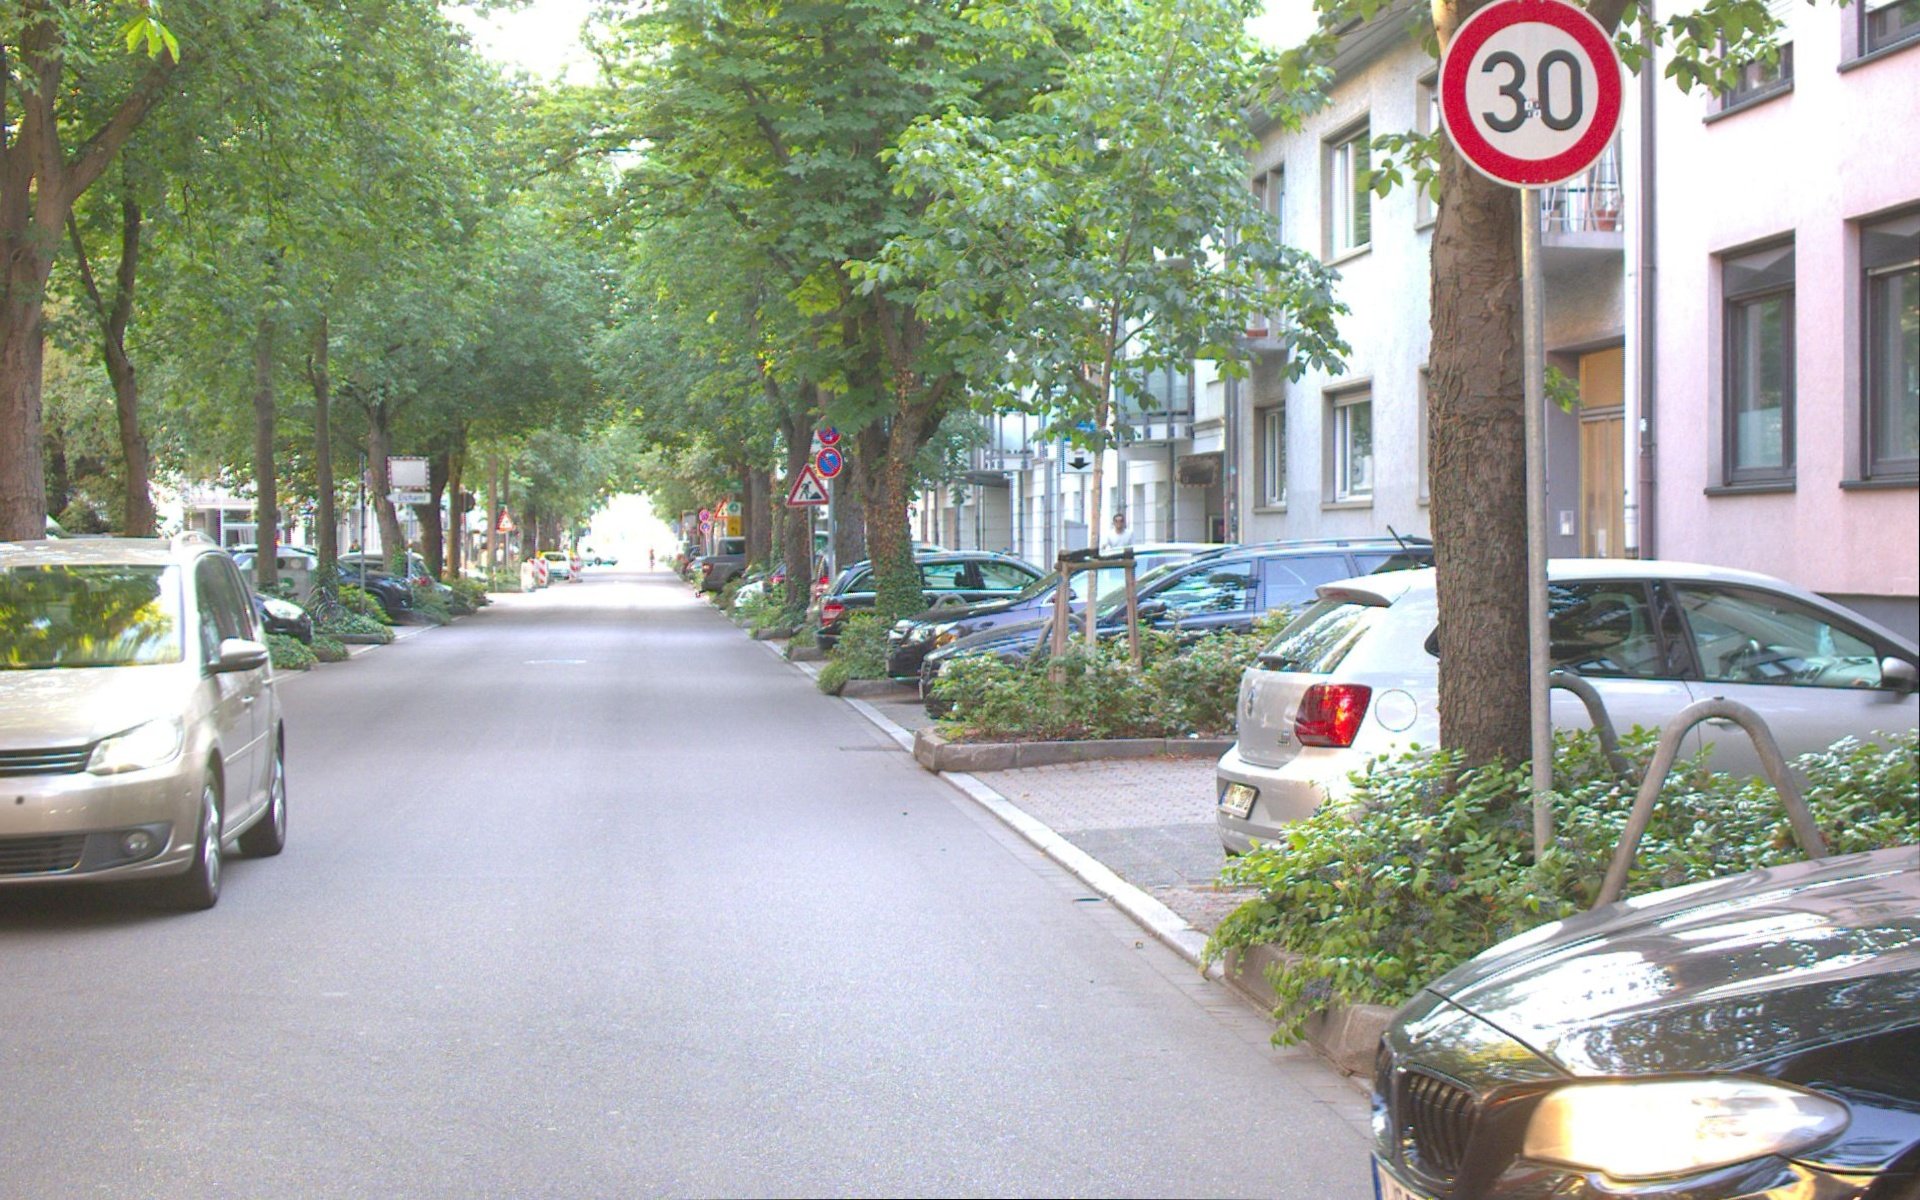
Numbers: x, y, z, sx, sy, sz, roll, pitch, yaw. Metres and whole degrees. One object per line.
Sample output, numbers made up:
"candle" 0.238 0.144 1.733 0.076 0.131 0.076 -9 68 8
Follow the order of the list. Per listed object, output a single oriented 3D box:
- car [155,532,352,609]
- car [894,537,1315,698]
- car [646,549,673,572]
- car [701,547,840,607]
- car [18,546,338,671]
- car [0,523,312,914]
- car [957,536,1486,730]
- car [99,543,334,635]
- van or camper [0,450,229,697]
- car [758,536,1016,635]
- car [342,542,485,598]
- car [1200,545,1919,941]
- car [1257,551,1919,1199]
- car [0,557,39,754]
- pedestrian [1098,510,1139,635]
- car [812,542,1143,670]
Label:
"car" -15.310 -0.640 74.640 3.967 1.614 1.785 -1 1 -4
"car" 1.392 0.151 34.202 3.967 1.522 1.785 -1 1 -5
"car" -20.420 -2.711 233.685 1.822 1.525 4.001 1 1 -4
"car" -5.464 -0.662 99.045 3.967 1.678 1.785 -1 1 -4
"car" -10.515 0.091 46.436 3.967 1.614 1.785 -1 1 -4
"car" -4.115 0.441 15.789 1.779 1.557 4.169 0 1 -4
"car" 2.057 0.238 27.697 3.967 1.471 1.785 -1 1 -7
"car" -13.591 -0.217 62.994 3.967 1.614 1.785 -1 1 -4
"van or camper" -10.027 -0.276 35.421 4.663 2.470 2.000 0 1 -5
"car" -1.194 -0.248 54.956 3.967 1.522 1.785 -1 1 -6
"car" -15.946 -0.886 100.485 3.967 1.614 1.785 -1 1 -4
"car" 3.065 0.524 14.072 3.908 1.471 1.665 -1 1 -7
"car" 3.020 0.648 5.981 4.744 1.475 1.800 0 1 -5
"car" -9.460 0.442 27.096 3.967 1.512 1.785 -1 1 -4
"pedestrian" 2.558 -0.448 55.606 0.589 2.007 0.669 0 1 -4
"car" 0.188 0.058 43.049 3.967 1.522 1.785 -1 1 -5
